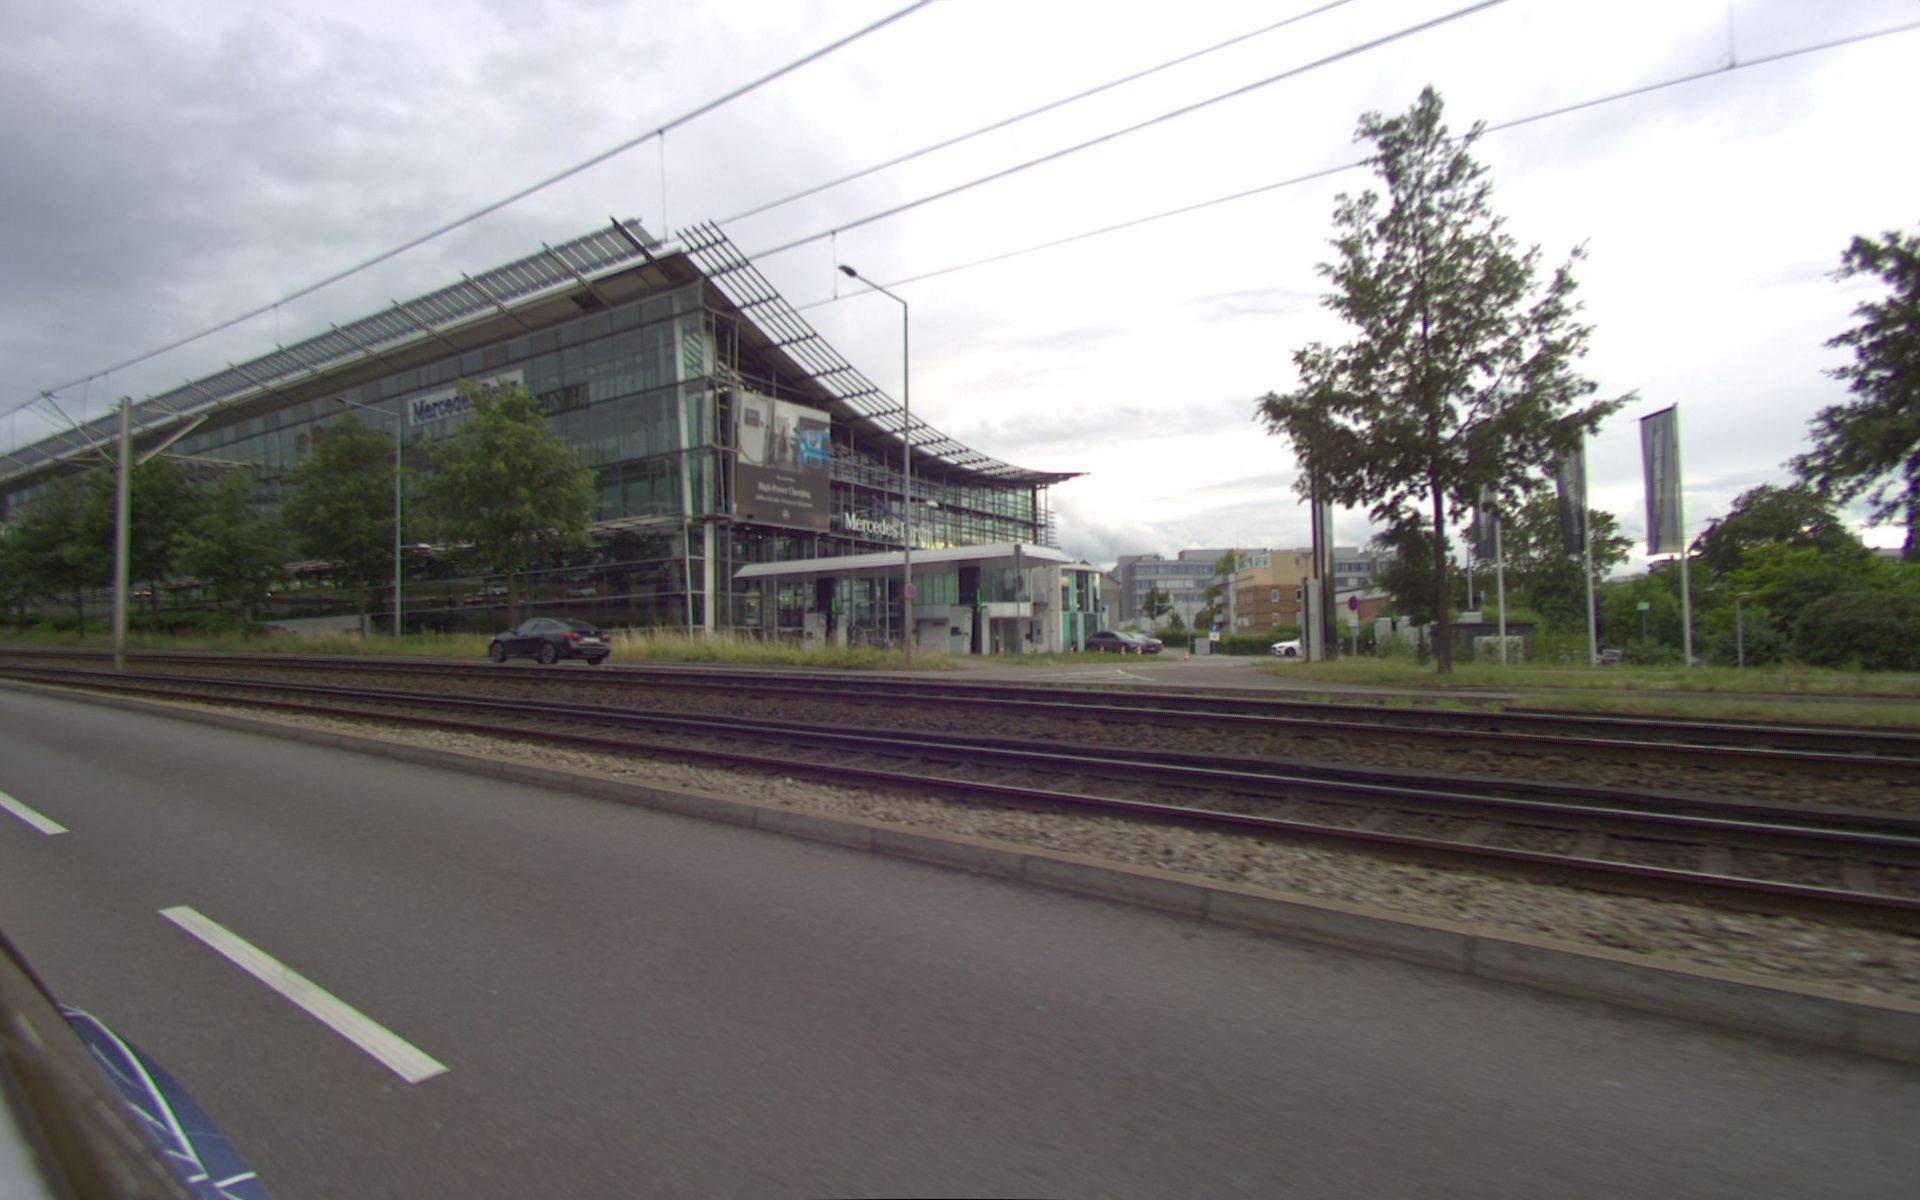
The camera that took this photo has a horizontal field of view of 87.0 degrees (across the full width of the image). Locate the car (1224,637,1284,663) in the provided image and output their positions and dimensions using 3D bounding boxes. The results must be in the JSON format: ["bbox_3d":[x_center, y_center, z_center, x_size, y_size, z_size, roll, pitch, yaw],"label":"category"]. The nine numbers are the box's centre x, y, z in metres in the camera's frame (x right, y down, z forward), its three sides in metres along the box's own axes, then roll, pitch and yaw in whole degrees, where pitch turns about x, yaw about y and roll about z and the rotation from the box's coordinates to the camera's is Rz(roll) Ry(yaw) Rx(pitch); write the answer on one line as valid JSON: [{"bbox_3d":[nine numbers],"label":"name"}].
[{"bbox_3d":[22.031,3.734,75.866,3.949,1.741,1.997,0,0,5],"label":"car"}]

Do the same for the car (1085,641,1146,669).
[{"bbox_3d":[10.623,3.730,69.257,3.749,1.723,1.757,0,0,44],"label":"car"}]

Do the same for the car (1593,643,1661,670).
[{"bbox_3d":[42.708,3.630,64.896,3.168,1.609,1.725,0,0,5],"label":"car"}]

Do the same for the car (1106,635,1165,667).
[{"bbox_3d":[12.468,3.583,72.016,3.747,2.029,1.880,0,0,43],"label":"car"}]

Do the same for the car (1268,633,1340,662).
[{"bbox_3d":[21.919,3.005,64.567,3.949,1.741,1.997,0,0,5],"label":"car"}]

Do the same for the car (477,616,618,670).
[{"bbox_3d":[-12.737,1.348,31.200,4.392,1.532,1.867,-2,-5,34],"label":"car"}]

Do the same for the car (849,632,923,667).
[{"bbox_3d":[-4.189,2.797,57.459,3.950,1.864,1.892,0,0,5],"label":"car"}]

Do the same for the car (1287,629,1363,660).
[{"bbox_3d":[22.314,2.704,61.960,3.949,1.741,1.997,0,0,5],"label":"car"}]
